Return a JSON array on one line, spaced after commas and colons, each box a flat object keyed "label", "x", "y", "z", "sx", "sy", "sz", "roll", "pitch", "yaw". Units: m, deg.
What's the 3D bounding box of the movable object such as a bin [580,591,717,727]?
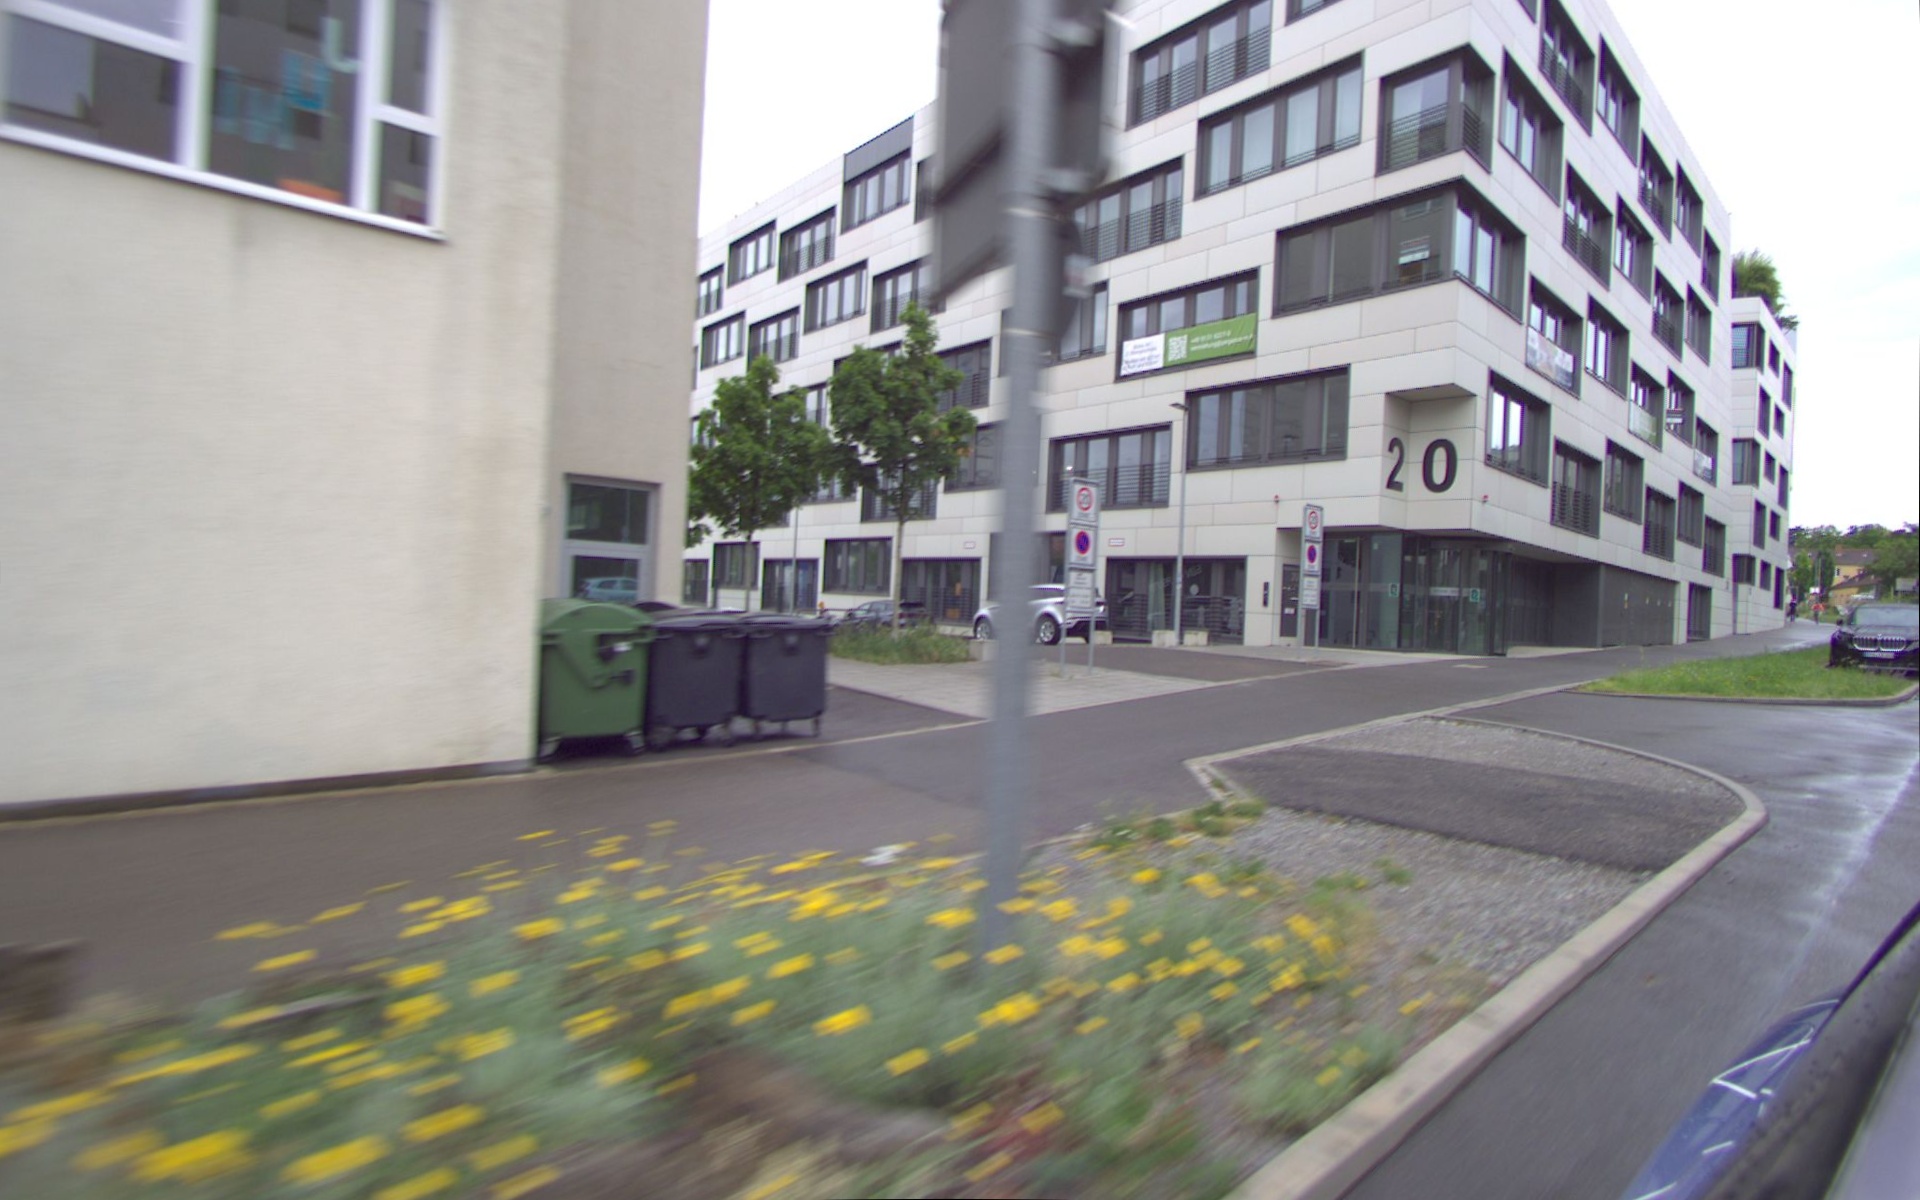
[{"label": "movable object such as a bin", "x": -3.565, "y": 0.624, "z": 11.552, "sx": 1.092, "sy": 1.420, "sz": 1.263, "roll": 1, "pitch": 1, "yaw": -40}]

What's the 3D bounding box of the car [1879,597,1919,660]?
[{"label": "car", "x": 27.002, "y": 0.747, "z": 28.161, "sx": 4.300, "sy": 1.625, "sz": 1.751, "roll": -1, "pitch": 1, "yaw": -43}]

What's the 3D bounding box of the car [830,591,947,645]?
[{"label": "car", "x": -2.385, "y": 0.524, "z": 32.926, "sx": 1.758, "sy": 1.565, "sz": 3.994, "roll": 0, "pitch": 1, "yaw": -41}]

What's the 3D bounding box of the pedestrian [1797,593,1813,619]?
[{"label": "pedestrian", "x": 61.872, "y": 0.416, "z": 74.130, "sx": 0.822, "sy": 1.818, "sz": 1.190, "roll": 2, "pitch": 2, "yaw": 42}]

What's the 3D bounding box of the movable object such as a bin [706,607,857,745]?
[{"label": "movable object such as a bin", "x": -1.965, "y": 0.778, "z": 11.122, "sx": 1.171, "sy": 1.336, "sz": 1.238, "roll": 0, "pitch": 2, "yaw": -40}]

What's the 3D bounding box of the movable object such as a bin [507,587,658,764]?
[{"label": "movable object such as a bin", "x": -3.579, "y": 0.655, "z": 9.567, "sx": 0.995, "sy": 1.522, "sz": 1.176, "roll": 1, "pitch": 1, "yaw": -39}]

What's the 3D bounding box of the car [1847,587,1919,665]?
[{"label": "car", "x": 22.545, "y": 0.613, "z": 23.997, "sx": 4.632, "sy": 1.700, "sz": 1.810, "roll": 1, "pitch": 0, "yaw": -43}]

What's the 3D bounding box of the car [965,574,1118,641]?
[{"label": "car", "x": 2.121, "y": 0.231, "z": 27.166, "sx": 1.859, "sy": 1.636, "sz": 3.995, "roll": 0, "pitch": -2, "yaw": -39}]

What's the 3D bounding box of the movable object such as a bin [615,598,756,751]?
[{"label": "movable object such as a bin", "x": -2.802, "y": 0.708, "z": 10.304, "sx": 1.039, "sy": 1.420, "sz": 1.023, "roll": 1, "pitch": 1, "yaw": -40}]
